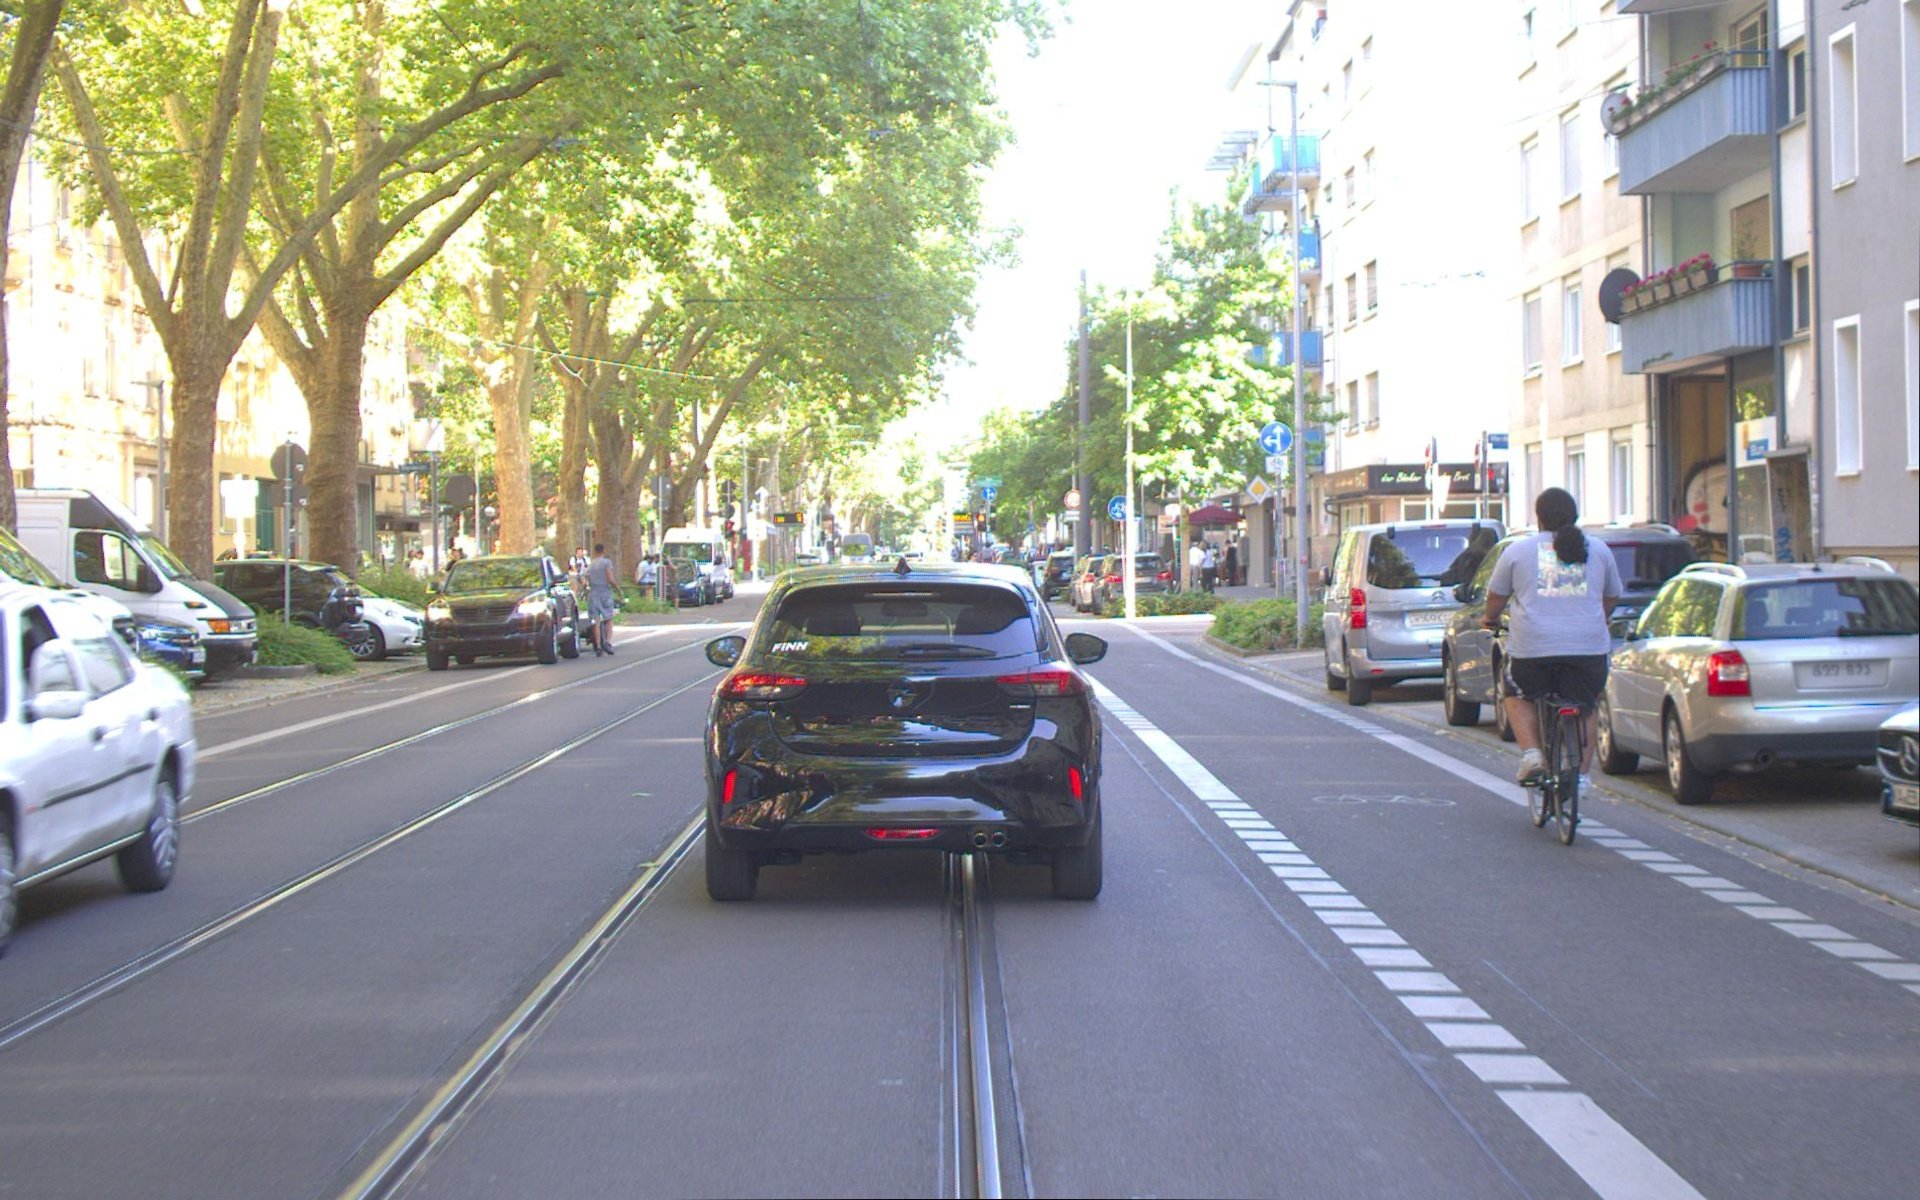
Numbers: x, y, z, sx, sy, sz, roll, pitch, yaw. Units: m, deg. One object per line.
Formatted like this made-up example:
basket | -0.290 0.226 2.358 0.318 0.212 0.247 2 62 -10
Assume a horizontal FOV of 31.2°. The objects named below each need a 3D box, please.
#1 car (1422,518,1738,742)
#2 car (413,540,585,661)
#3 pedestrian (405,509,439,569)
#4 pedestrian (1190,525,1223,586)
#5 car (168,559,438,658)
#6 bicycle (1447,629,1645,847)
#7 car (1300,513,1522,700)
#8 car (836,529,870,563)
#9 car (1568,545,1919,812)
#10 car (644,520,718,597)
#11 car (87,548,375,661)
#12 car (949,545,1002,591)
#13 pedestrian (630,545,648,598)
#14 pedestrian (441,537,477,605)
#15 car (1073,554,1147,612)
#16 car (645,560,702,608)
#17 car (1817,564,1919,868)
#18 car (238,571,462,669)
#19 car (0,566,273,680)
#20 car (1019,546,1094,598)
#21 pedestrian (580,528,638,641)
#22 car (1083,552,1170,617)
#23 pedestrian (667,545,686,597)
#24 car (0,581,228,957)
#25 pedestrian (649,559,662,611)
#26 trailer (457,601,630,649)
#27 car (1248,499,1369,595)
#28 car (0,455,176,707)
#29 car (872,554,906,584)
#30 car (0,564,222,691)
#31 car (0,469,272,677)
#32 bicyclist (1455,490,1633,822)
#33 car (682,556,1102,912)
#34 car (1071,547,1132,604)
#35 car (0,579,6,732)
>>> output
car | 5.058 0.198 28.595 1.766 1.699 4.283 -1 1 -1
car | -7.005 -0.023 52.666 1.993 1.694 4.485 -2 1 0
pedestrian | -14.665 -1.663 93.684 0.846 1.627 0.644 -1 1 -6
pedestrian | 7.026 -1.271 97.954 0.768 1.742 0.795 -1 1 18
car | -10.497 0.122 55.099 3.987 1.516 1.771 -1 1 -1
bicycle | 3.170 0.722 18.759 0.701 1.088 1.990 1 0 -1
car | 4.823 0.028 37.367 1.858 1.883 4.924 -1 1 2
car | -7.109 -3.576 227.008 1.993 2.204 5.103 -1 1 -4
car | 5.130 0.417 22.123 1.724 1.520 4.512 -1 1 2
car | -9.653 -1.469 119.353 2.092 2.575 5.997 -1 1 0
car | -11.073 0.045 52.410 3.987 1.641 1.894 -1 1 -1
car | 0.578 -1.195 127.278 1.858 1.646 4.000 -1 1 2
pedestrian | -9.604 -0.845 102.928 0.506 1.577 0.527 -1 1 -4
pedestrian | -13.853 -0.811 95.089 0.905 1.862 0.644 -1 1 -6
car | 4.014 -0.470 92.485 1.718 1.485 3.682 -1 1 -2
car | -9.419 -0.530 113.226 1.754 1.503 4.001 -1 1 -3
car | 6.820 0.469 16.985 4.612 1.432 1.865 -2 1 -11
car | -10.053 0.319 56.806 3.430 1.525 1.787 -1 1 -3
car | -11.446 0.300 46.686 3.854 1.473 1.861 -1 1 -1
car | 3.099 -0.914 111.263 1.993 1.634 4.001 -1 1 -4
pedestrian | -5.562 -0.250 54.403 0.711 1.729 0.913 -3 1 -14
car | 4.197 -0.416 87.041 1.718 1.568 4.085 -1 1 -4
pedestrian | -8.508 -0.872 103.154 0.506 1.577 0.527 -1 1 -1
car | -4.373 0.637 13.836 1.718 1.354 4.470 -1 1 2
pedestrian | -9.168 -0.458 103.577 0.346 1.577 0.508 -1 1 -2
trailer | -6.964 0.396 58.100 2.160 0.629 6.400 -1 1 0
car | 6.263 -0.961 62.048 1.858 1.646 4.000 -1 1 2
car | -10.917 -0.176 34.977 5.360 2.469 2.057 -1 1 0
car | -4.013 -1.767 195.060 1.750 1.646 4.000 -1 1 2
car | -11.081 0.319 41.260 4.019 1.461 1.872 0 1 1
car | -11.444 -0.339 43.886 4.943 2.559 2.083 -1 1 -3
bicyclist | 3.162 0.294 18.679 0.786 1.753 0.915 0 0 -1
car | -0.293 0.522 15.714 1.679 1.418 3.628 1 1 -1
car | 3.952 -0.705 96.570 1.651 1.568 3.083 -1 1 2
car | -10.883 0.528 30.303 4.409 1.380 1.933 0 1 0
